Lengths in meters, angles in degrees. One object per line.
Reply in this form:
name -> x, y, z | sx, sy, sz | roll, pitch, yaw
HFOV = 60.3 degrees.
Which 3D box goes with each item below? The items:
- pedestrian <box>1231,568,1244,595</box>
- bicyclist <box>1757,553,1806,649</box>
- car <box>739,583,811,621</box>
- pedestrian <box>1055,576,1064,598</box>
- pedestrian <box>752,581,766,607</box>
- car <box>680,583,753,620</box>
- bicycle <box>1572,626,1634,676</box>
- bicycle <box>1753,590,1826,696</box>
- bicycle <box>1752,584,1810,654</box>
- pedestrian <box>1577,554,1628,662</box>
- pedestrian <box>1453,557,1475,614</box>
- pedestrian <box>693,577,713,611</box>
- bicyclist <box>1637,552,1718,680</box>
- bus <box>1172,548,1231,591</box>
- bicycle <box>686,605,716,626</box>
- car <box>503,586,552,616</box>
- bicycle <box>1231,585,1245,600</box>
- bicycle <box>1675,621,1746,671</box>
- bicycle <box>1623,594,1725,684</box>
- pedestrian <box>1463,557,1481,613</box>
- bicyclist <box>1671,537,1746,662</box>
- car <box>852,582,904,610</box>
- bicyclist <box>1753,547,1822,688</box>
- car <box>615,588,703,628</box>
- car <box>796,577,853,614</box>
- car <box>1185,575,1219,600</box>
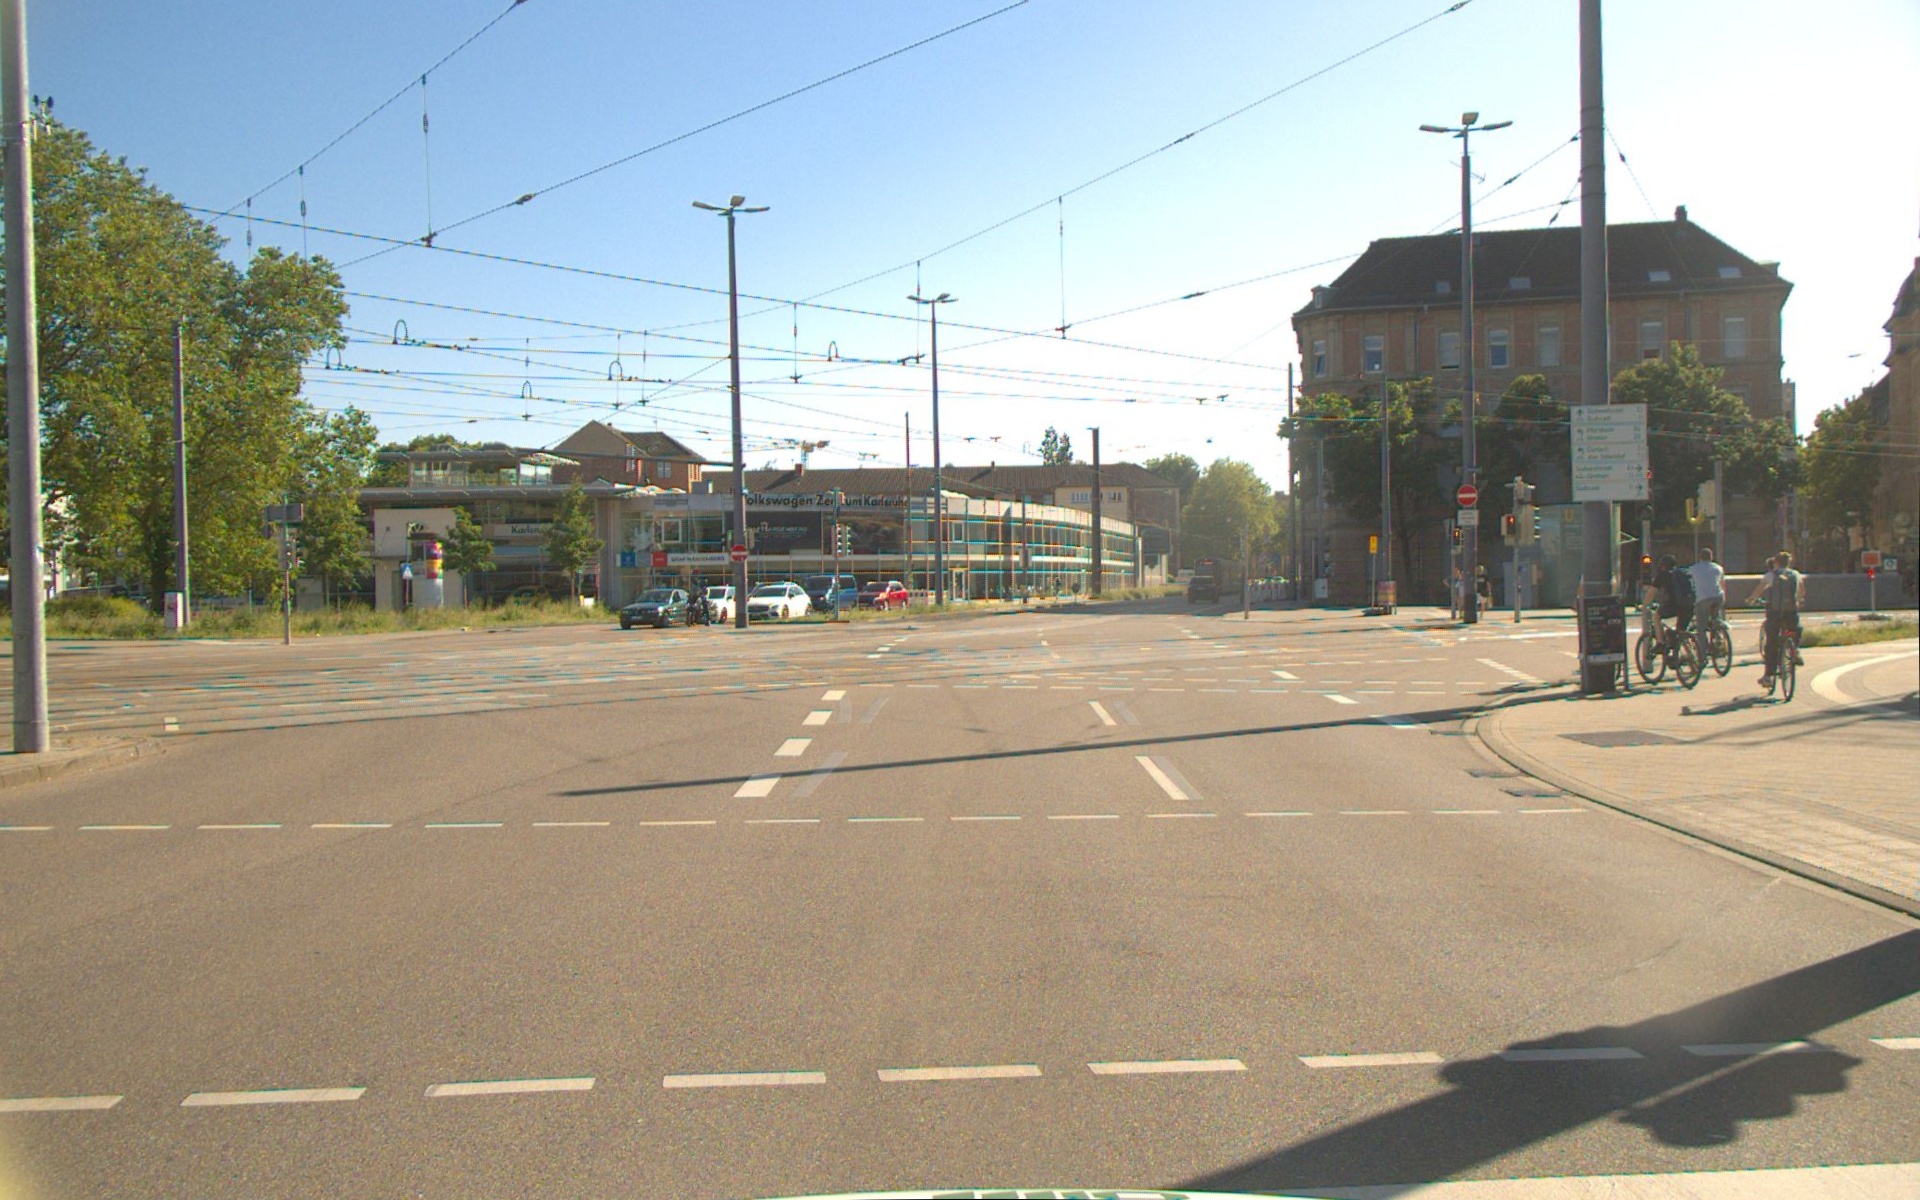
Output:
pedestrian -> 17.410, -1.174, 103.718 | 0.785, 1.661, 0.718 | -1, -1, 12
bicyclist -> 13.901, 0.017, 28.010 | 0.559, 1.596, 0.947 | -1, 0, 16
car -> -7.229, 0.076, 64.833 | 1.591, 1.406, 3.741 | -1, 1, 14
pedestrian -> 7.605, -1.006, 126.940 | 0.531, 1.718, 0.630 | -1, 0, 17
pedestrian -> -9.565, -0.292, 78.788 | 0.414, 1.225, 0.681 | -1, 0, 18
car -> -9.781, 0.043, 66.676 | 1.591, 1.448, 3.689 | -1, 1, 14
bicycle -> 9.775, 0.767, 25.183 | 0.525, 0.667, 1.727 | -4, 0, 10
bicycle -> 9.844, 0.485, 19.676 | 0.671, 1.184, 1.883 | -1, 1, 24
bicycle -> 13.925, 0.311, 28.072 | 0.559, 1.145, 1.741 | -1, 1, 16
pedestrian -> 9.669, 0.120, 24.907 | 0.536, 1.590, 0.859 | -1, 0, 10
pedestrian -> 18.376, -0.518, 60.293 | 0.564, 2.049, 0.449 | -1, 1, -19
pedestrian -> -9.377, -0.205, 60.305 | 0.413, 1.225, 0.750 | -1, 0, 16
bicyclist -> 9.721, 0.205, 22.426 | 0.612, 1.666, 0.995 | -3, 0, 2
bus -> 23.956, -2.845, 162.608 | 3.755, 3.670, 24.886 | 1, 0, 13
bicycle -> -9.411, 0.550, 60.161 | 0.413, 0.730, 1.636 | -1, 1, 16
car -> -25.968, 0.047, 99.478 | 1.926, 1.735, 4.083 | -1, 1, -1
bicycle -> 17.370, -0.468, 103.332 | 0.727, 0.885, 1.933 | -1, 0, 12
bicycle -> 11.199, 0.680, 24.722 | 0.525, 0.667, 1.469 | -2, 1, 6
bicycle -> 9.745, 0.508, 22.645 | 0.612, 1.133, 1.851 | -3, 0, 3
pedestrian -> 18.894, -0.545, 61.026 | 0.453, 2.049, 0.449 | -1, 1, -18
bicyclist -> 11.144, -0.011, 24.649 | 0.731, 1.809, 0.925 | -2, 0, 6
car -> -4.239, -0.203, 86.022 | 1.591, 1.388, 3.688 | -1, 1, 16
bicyclist -> 9.862, 0.199, 19.730 | 0.671, 1.626, 0.977 | -1, 0, 24
car -> -11.004, 0.266, 60.702 | 1.667, 1.378, 3.703 | -1, 1, 16
car -> -6.417, -0.238, 78.862 | 1.591, 1.722, 3.689 | -1, 1, 14
car -> 15.240, -0.808, 104.063 | 1.663, 1.529, 4.268 | -1, 1, 14
